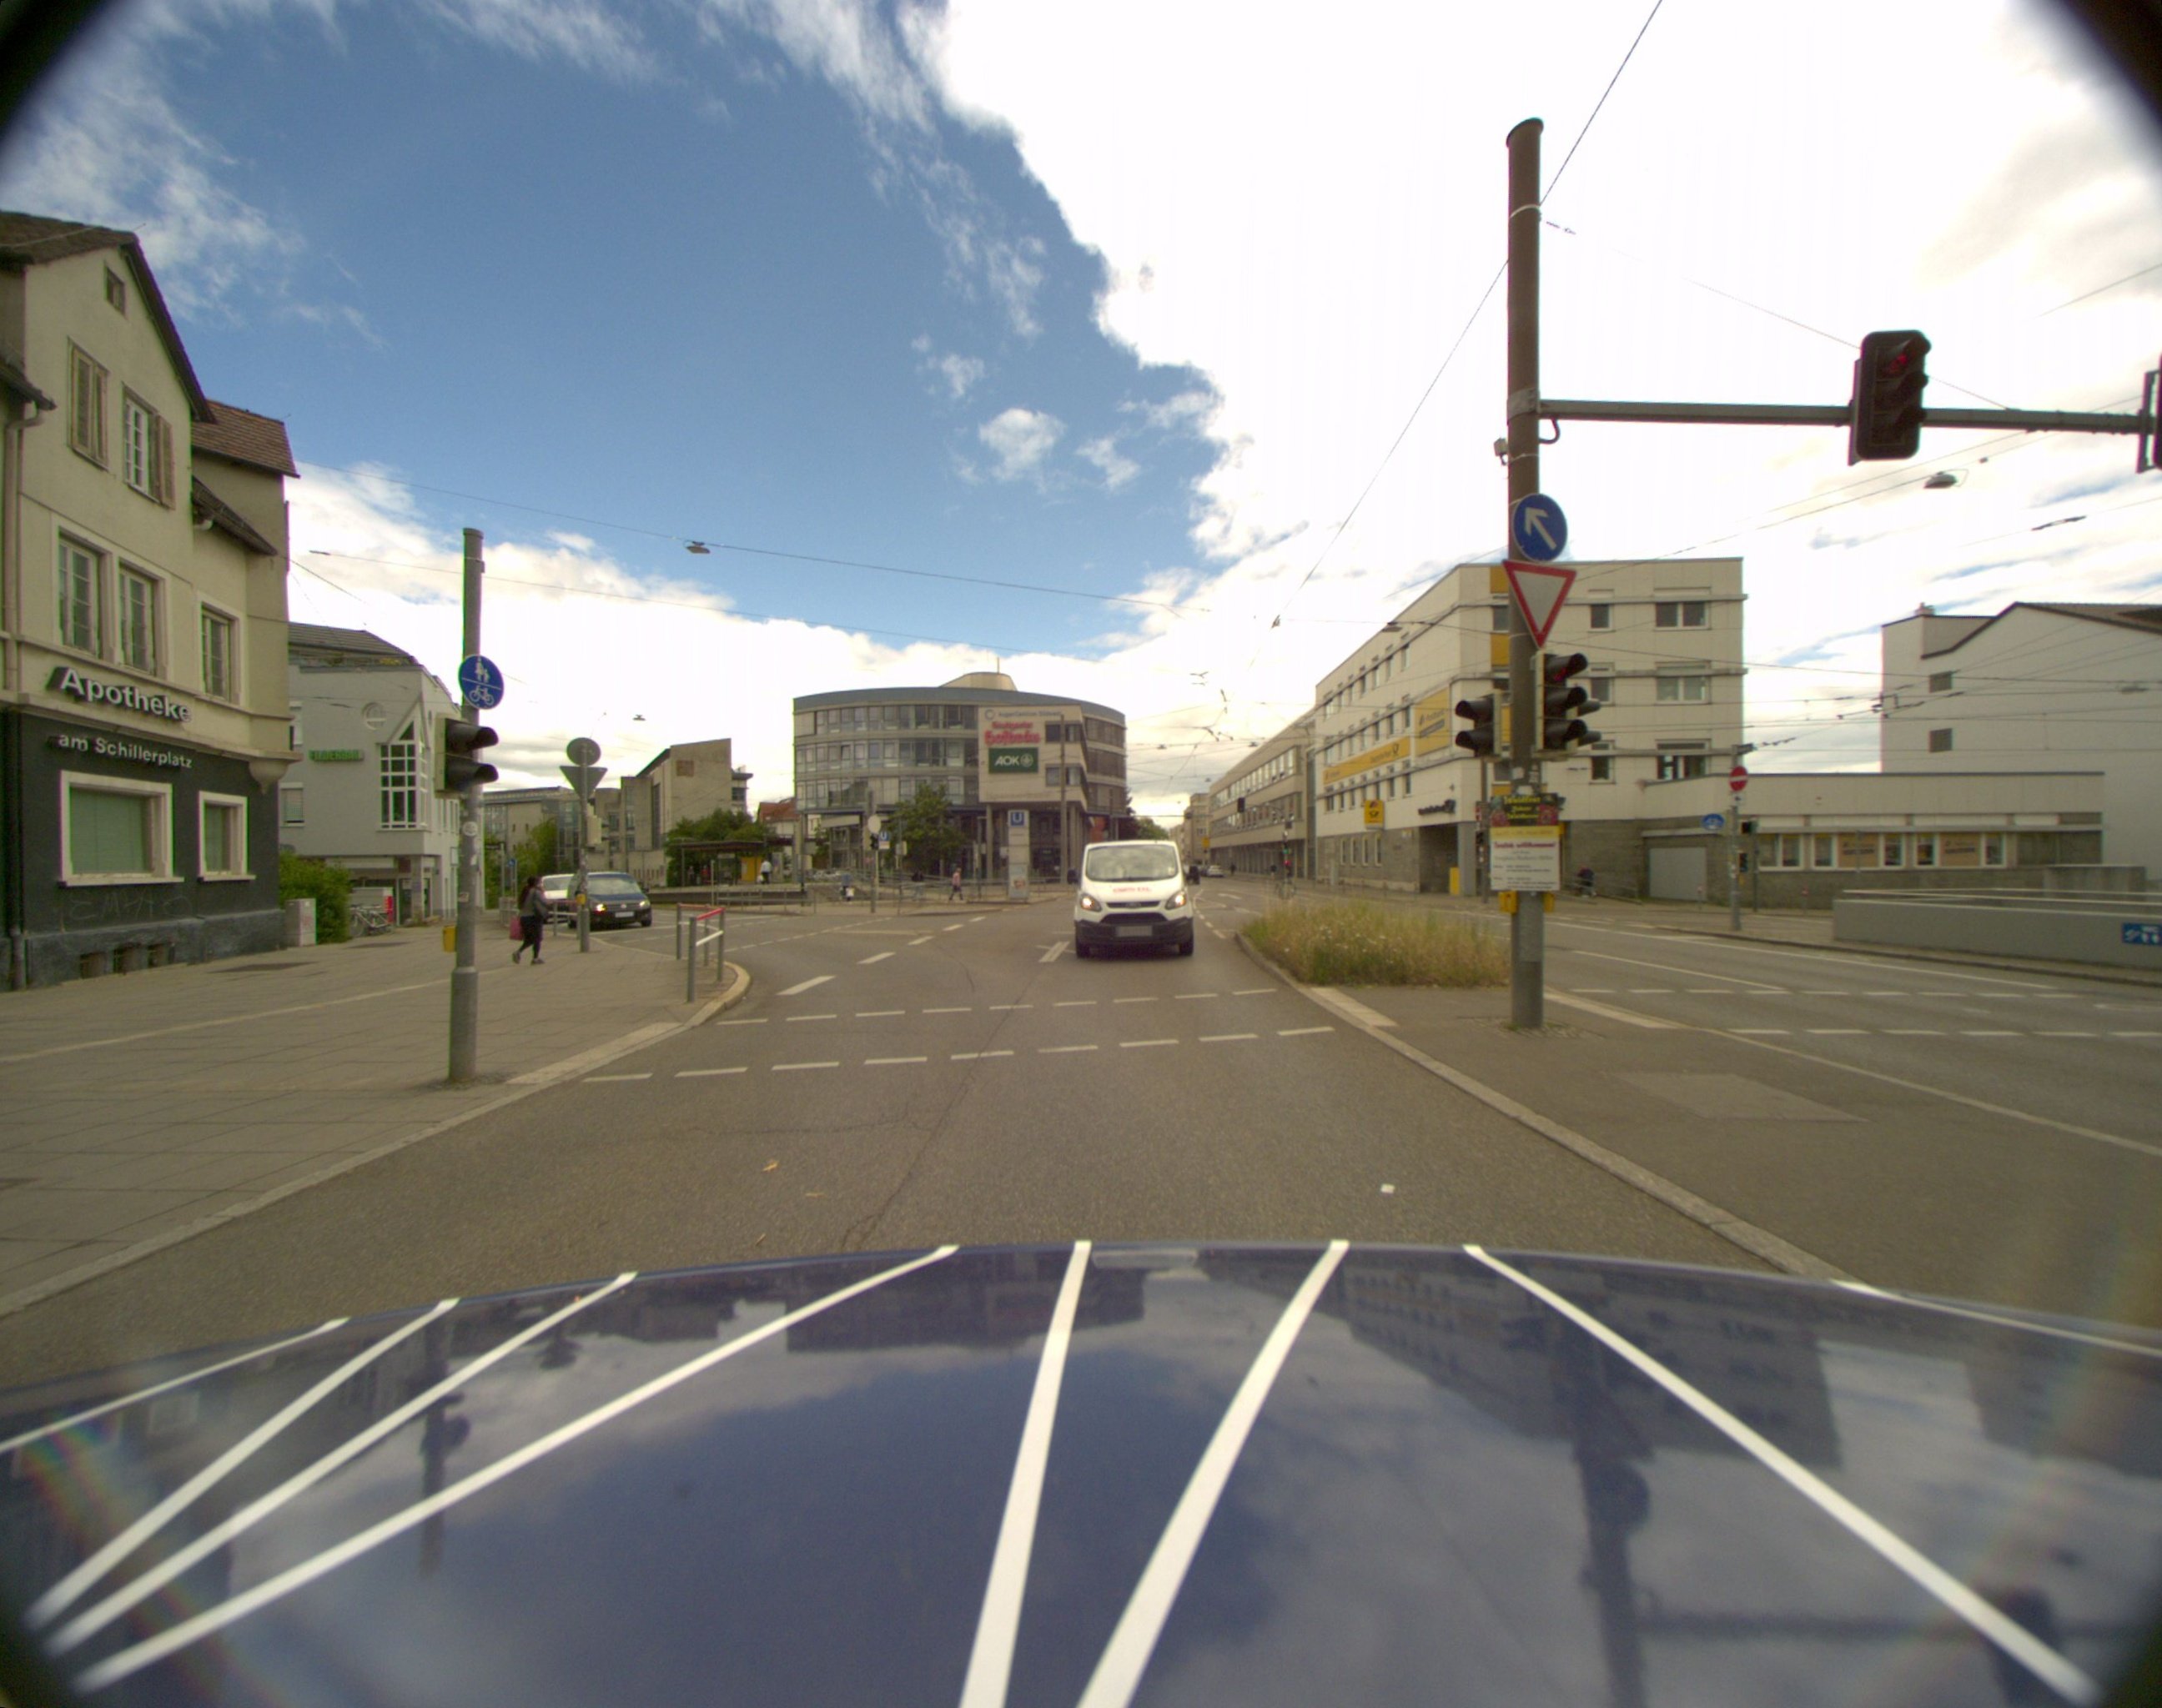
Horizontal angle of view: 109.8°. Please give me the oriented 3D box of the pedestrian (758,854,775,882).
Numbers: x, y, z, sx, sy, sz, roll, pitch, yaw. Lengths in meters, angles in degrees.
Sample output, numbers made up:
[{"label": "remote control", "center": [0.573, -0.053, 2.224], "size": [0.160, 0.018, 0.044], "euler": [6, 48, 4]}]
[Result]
[{"label": "pedestrian", "center": [-19.923, 0.911, 48.194], "size": [0.613, 1.733, 0.697], "euler": [-4, 0, 39]}]

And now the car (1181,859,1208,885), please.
[{"label": "car", "center": [9.184, 1.436, 61.806], "size": [1.997, 2.001, 4.489], "euler": [-2, -1, 6]}]

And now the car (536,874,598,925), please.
[{"label": "car", "center": [-21.355, 1.807, 31.470], "size": [1.884, 1.884, 4.915], "euler": [-2, 0, -36]}]

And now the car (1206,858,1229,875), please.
[{"label": "car", "center": [16.752, 1.571, 93.368], "size": [1.998, 2.001, 4.487], "euler": [-2, -1, 0]}]

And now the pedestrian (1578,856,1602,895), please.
[{"label": "pedestrian", "center": [21.284, 0.887, 31.798], "size": [0.587, 1.625, 0.615], "euler": [-1, 0, 2]}]

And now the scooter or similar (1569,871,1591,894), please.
[{"label": "scooter or similar", "center": [21.308, 1.219, 32.430], "size": [0.508, 0.971, 0.617], "euler": [-1, 0, 0]}]

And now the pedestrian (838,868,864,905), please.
[{"label": "pedestrian", "center": [-10.558, 1.464, 34.839], "size": [0.808, 1.637, 0.886], "euler": [-1, 0, -41]}]

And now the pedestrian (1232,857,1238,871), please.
[{"label": "pedestrian", "center": [19.636, 1.295, 96.680], "size": [0.587, 1.792, 0.526], "euler": [-4, 0, 2]}]

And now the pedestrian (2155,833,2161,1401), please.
[{"label": "pedestrian", "center": [3.357, 0.746, 1.862], "size": [0.504, 1.625, 0.663], "euler": [-1, 0, -4]}]

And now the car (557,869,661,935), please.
[{"label": "car", "center": [-15.328, 1.453, 24.550], "size": [1.884, 1.884, 4.914], "euler": [-2, 0, -43]}]

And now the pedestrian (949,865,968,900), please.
[{"label": "pedestrian", "center": [-5.913, 1.368, 36.739], "size": [0.589, 1.625, 0.525], "euler": [-3, 0, -43]}]

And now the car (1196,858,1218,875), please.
[{"label": "car", "center": [16.474, 1.627, 99.573], "size": [1.998, 2.001, 4.487], "euler": [-2, -1, 0]}]

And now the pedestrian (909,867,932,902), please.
[{"label": "pedestrian", "center": [-7.766, 1.451, 36.704], "size": [0.847, 1.625, 0.644], "euler": [-4, 0, -31]}]

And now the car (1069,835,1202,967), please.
[{"label": "car", "center": [1.073, 0.750, 14.224], "size": [1.998, 2.001, 5.002], "euler": [-2, -1, 5]}]

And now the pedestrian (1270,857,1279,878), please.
[{"label": "pedestrian", "center": [17.064, 1.193, 67.044], "size": [0.587, 1.792, 0.526], "euler": [-4, 0, 2]}]

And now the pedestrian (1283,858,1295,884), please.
[{"label": "pedestrian", "center": [14.370, 1.167, 52.579], "size": [0.587, 1.792, 0.526], "euler": [-4, 0, 2]}]

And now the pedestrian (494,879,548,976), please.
[{"label": "pedestrian", "center": [-9.823, 1.275, 13.354], "size": [0.589, 1.612, 0.743], "euler": [-4, 0, -29]}]

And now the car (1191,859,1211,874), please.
[{"label": "car", "center": [16.614, 1.673, 105.415], "size": [1.998, 2.001, 4.487], "euler": [-2, -1, 0]}]
